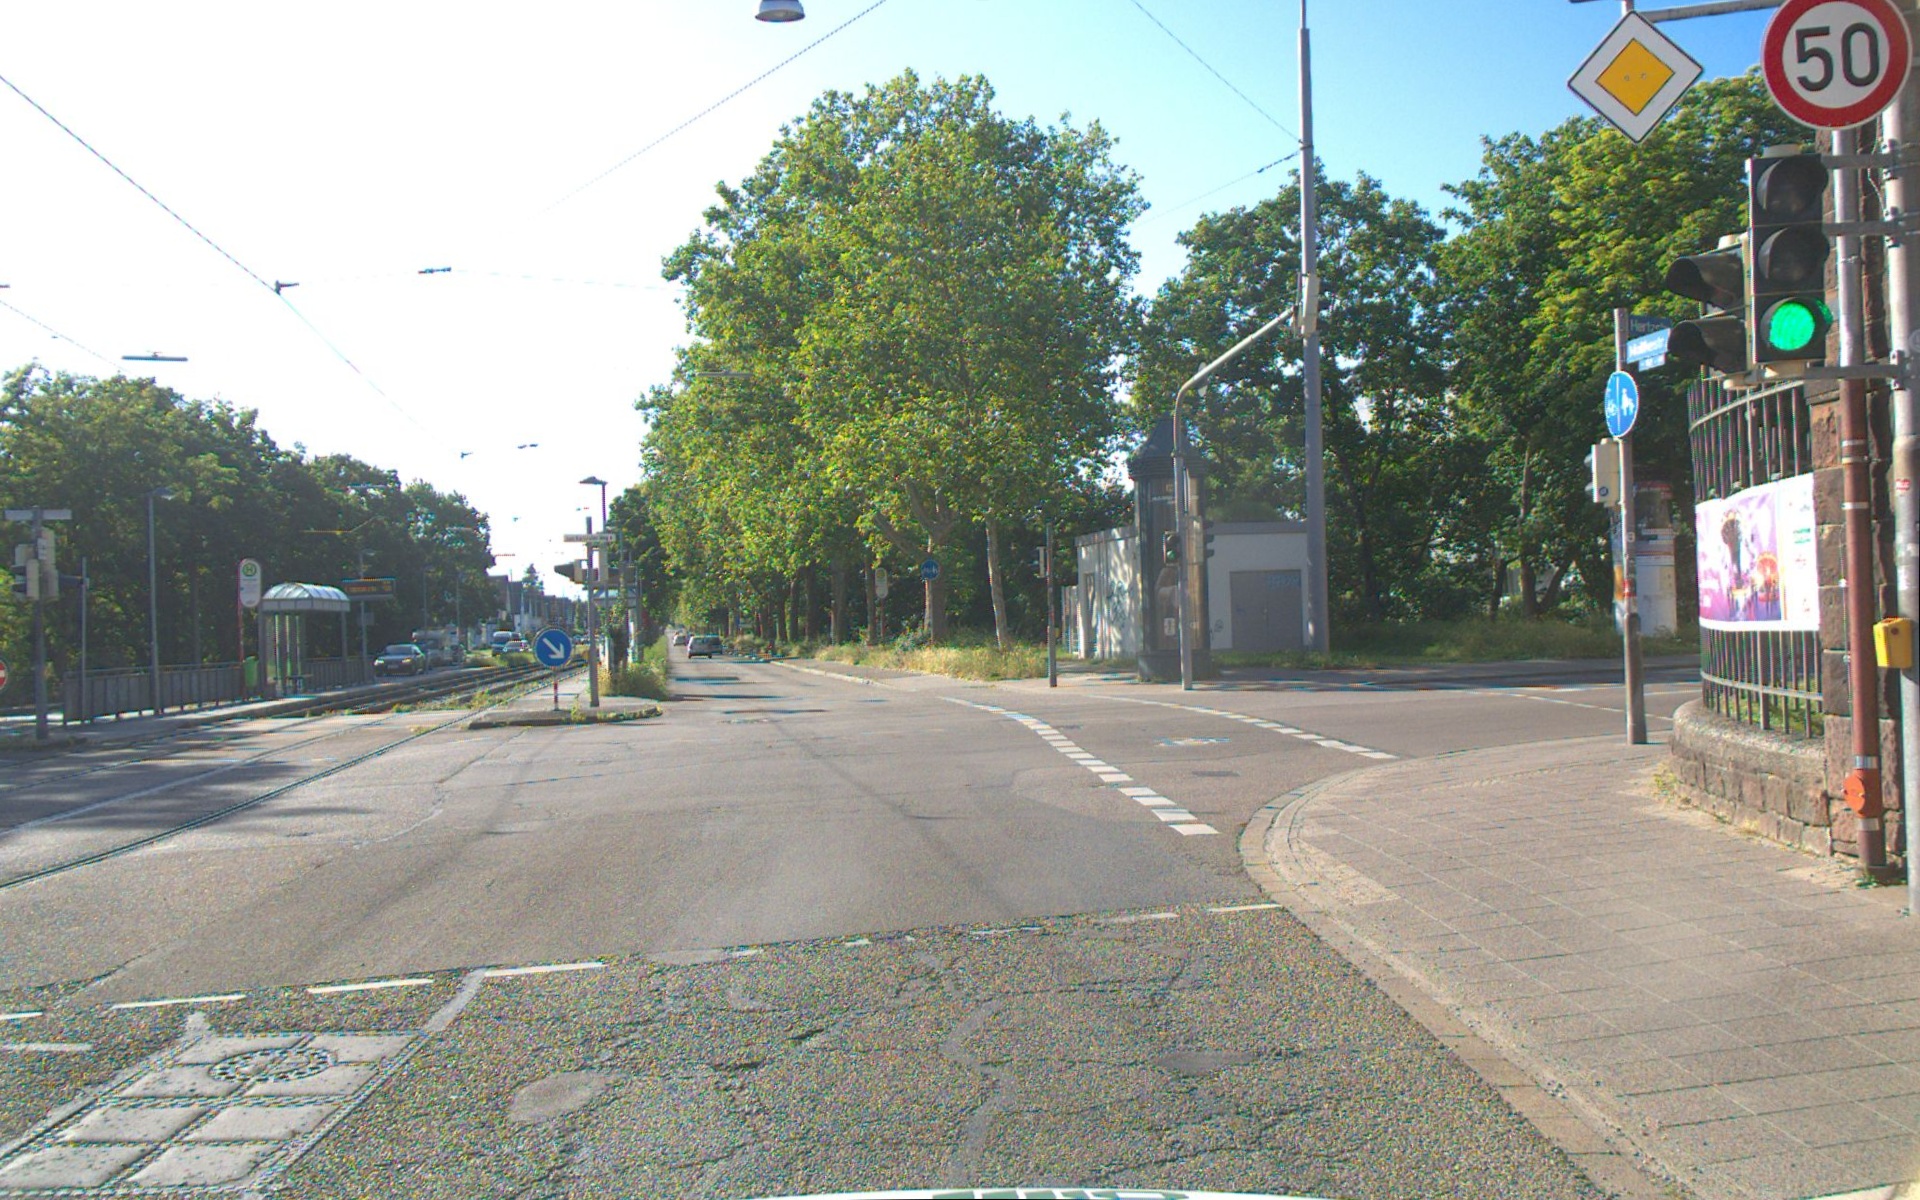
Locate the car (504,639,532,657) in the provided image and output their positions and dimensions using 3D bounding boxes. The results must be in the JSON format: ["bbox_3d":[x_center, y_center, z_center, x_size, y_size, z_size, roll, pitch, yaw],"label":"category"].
[{"bbox_3d":[-37.392,4.059,139.995,1.958,1.495,4.363,-2,-1,-11],"label":"car"}]

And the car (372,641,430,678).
[{"bbox_3d":[-26.836,2.840,79.561,1.885,1.594,3.992,-2,-1,-8],"label":"car"}]

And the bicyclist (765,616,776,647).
[{"bbox_3d":[-11.221,1.886,98.139,0.525,1.801,0.711,-2,-1,-12],"label":"bicyclist"}]

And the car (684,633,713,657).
[{"bbox_3d":[-17.607,3.036,111.155,1.833,1.512,3.546,-1,-1,-10],"label":"car"}]

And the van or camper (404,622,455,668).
[{"bbox_3d":[-38.716,3.275,120.914,2.543,3.160,6.771,-2,-1,-10],"label":"van or camper"}]

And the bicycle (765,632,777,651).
[{"bbox_3d":[-11.195,2.466,98.104,0.527,1.085,1.429,-2,-1,-12],"label":"bicycle"}]

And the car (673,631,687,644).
[{"bbox_3d":[-39.164,5.232,231.336,1.719,1.632,3.571,-2,-1,-11],"label":"car"}]

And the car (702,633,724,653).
[{"bbox_3d":[-20.672,3.605,138.255,1.718,1.632,3.741,-1,-1,-10],"label":"car"}]
